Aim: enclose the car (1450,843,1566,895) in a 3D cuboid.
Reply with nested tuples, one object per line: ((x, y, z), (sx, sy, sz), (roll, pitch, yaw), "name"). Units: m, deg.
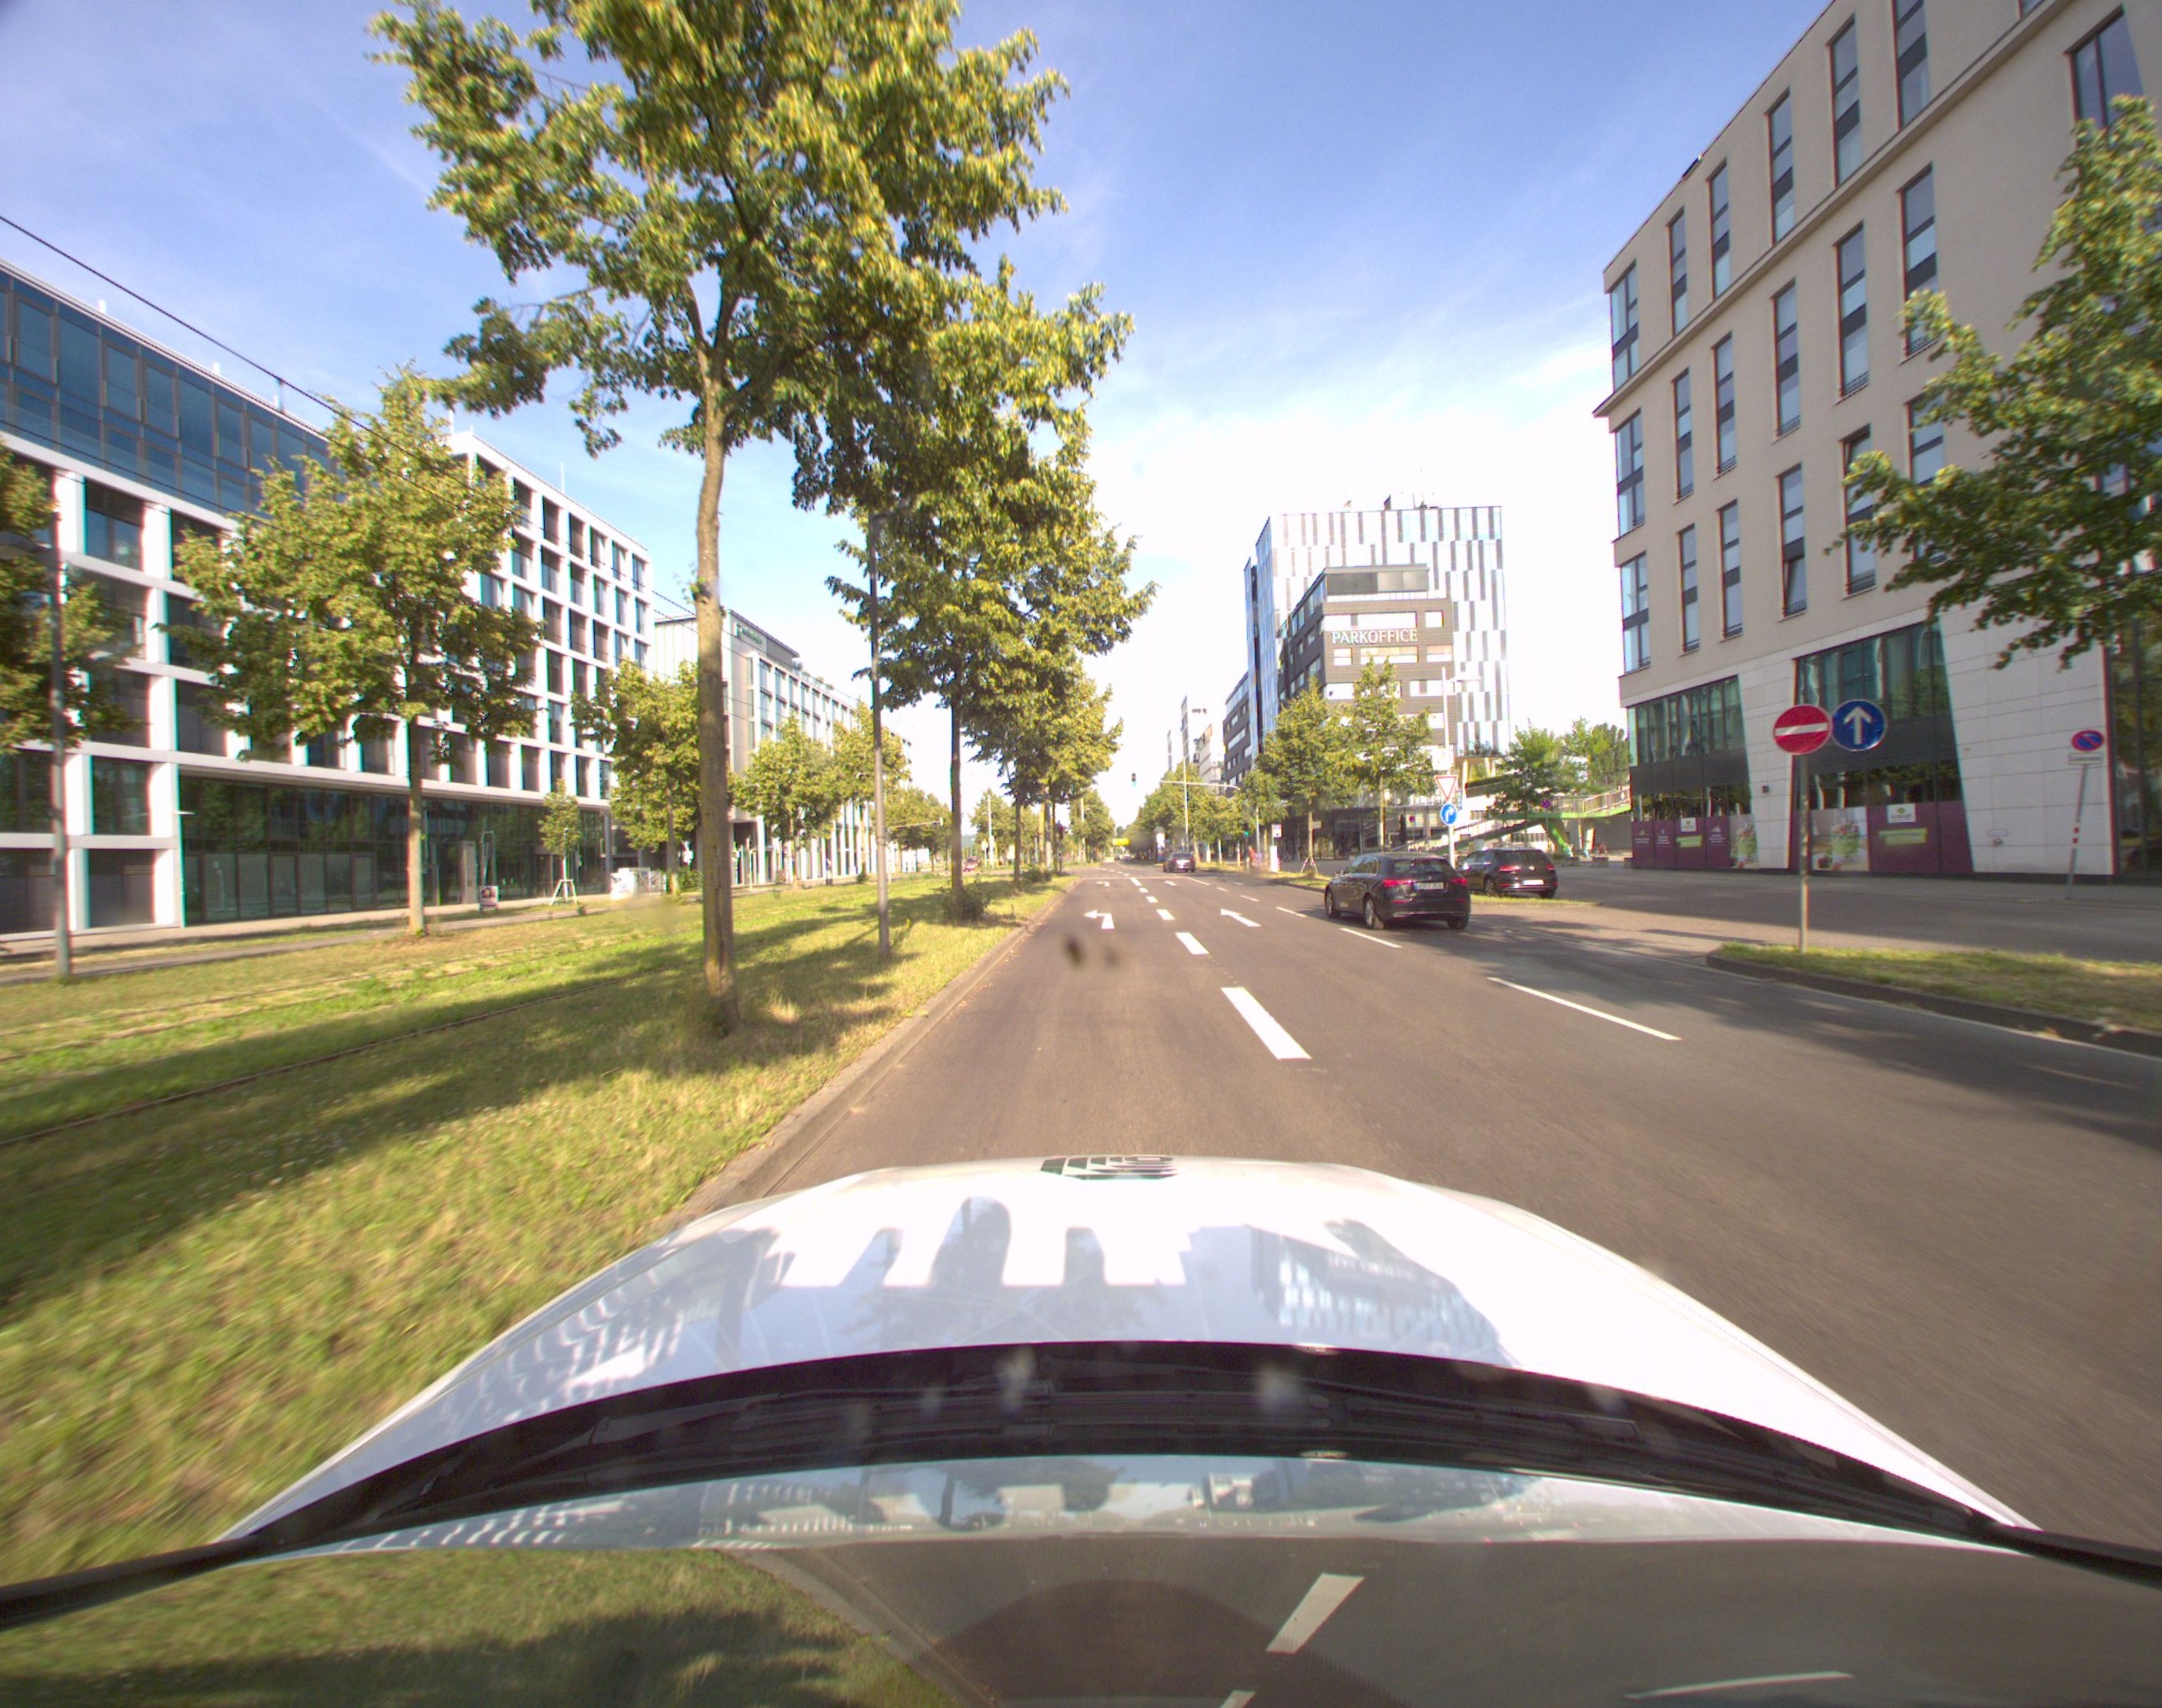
((12.250, 0.410, 23.633), (1.598, 1.370, 4.165), (0, -1, 7), "car")

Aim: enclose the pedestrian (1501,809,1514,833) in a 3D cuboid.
((31.129, -2.406, 59.468), (0.688, 1.692, 0.790), (-1, -1, 15), "pedestrian")

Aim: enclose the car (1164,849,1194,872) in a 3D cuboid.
((6.885, 0.463, 57.450), (1.852, 1.524, 3.787), (0, -1, 2), "car")

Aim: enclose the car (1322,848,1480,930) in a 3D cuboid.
((6.217, 0.632, 16.325), (1.767, 1.424, 3.963), (0, -1, 2), "car")

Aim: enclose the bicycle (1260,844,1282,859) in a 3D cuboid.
((22.730, -0.304, 97.423), (2.548, 1.857, 0.571), (0, -1, 11), "bicycle")

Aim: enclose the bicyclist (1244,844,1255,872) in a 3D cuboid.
((10.395, 0.252, 50.327), (0.573, 1.707, 0.540), (0, -1, -1), "bicyclist")

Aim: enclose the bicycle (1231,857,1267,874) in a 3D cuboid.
((10.363, 0.692, 50.305), (2.128, 1.013, 0.571), (0, -1, -2), "bicycle")

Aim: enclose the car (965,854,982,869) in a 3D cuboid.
((-13.066, 0.930, 98.869), (1.679, 1.775, 3.880), (0, -1, -2), "car")
